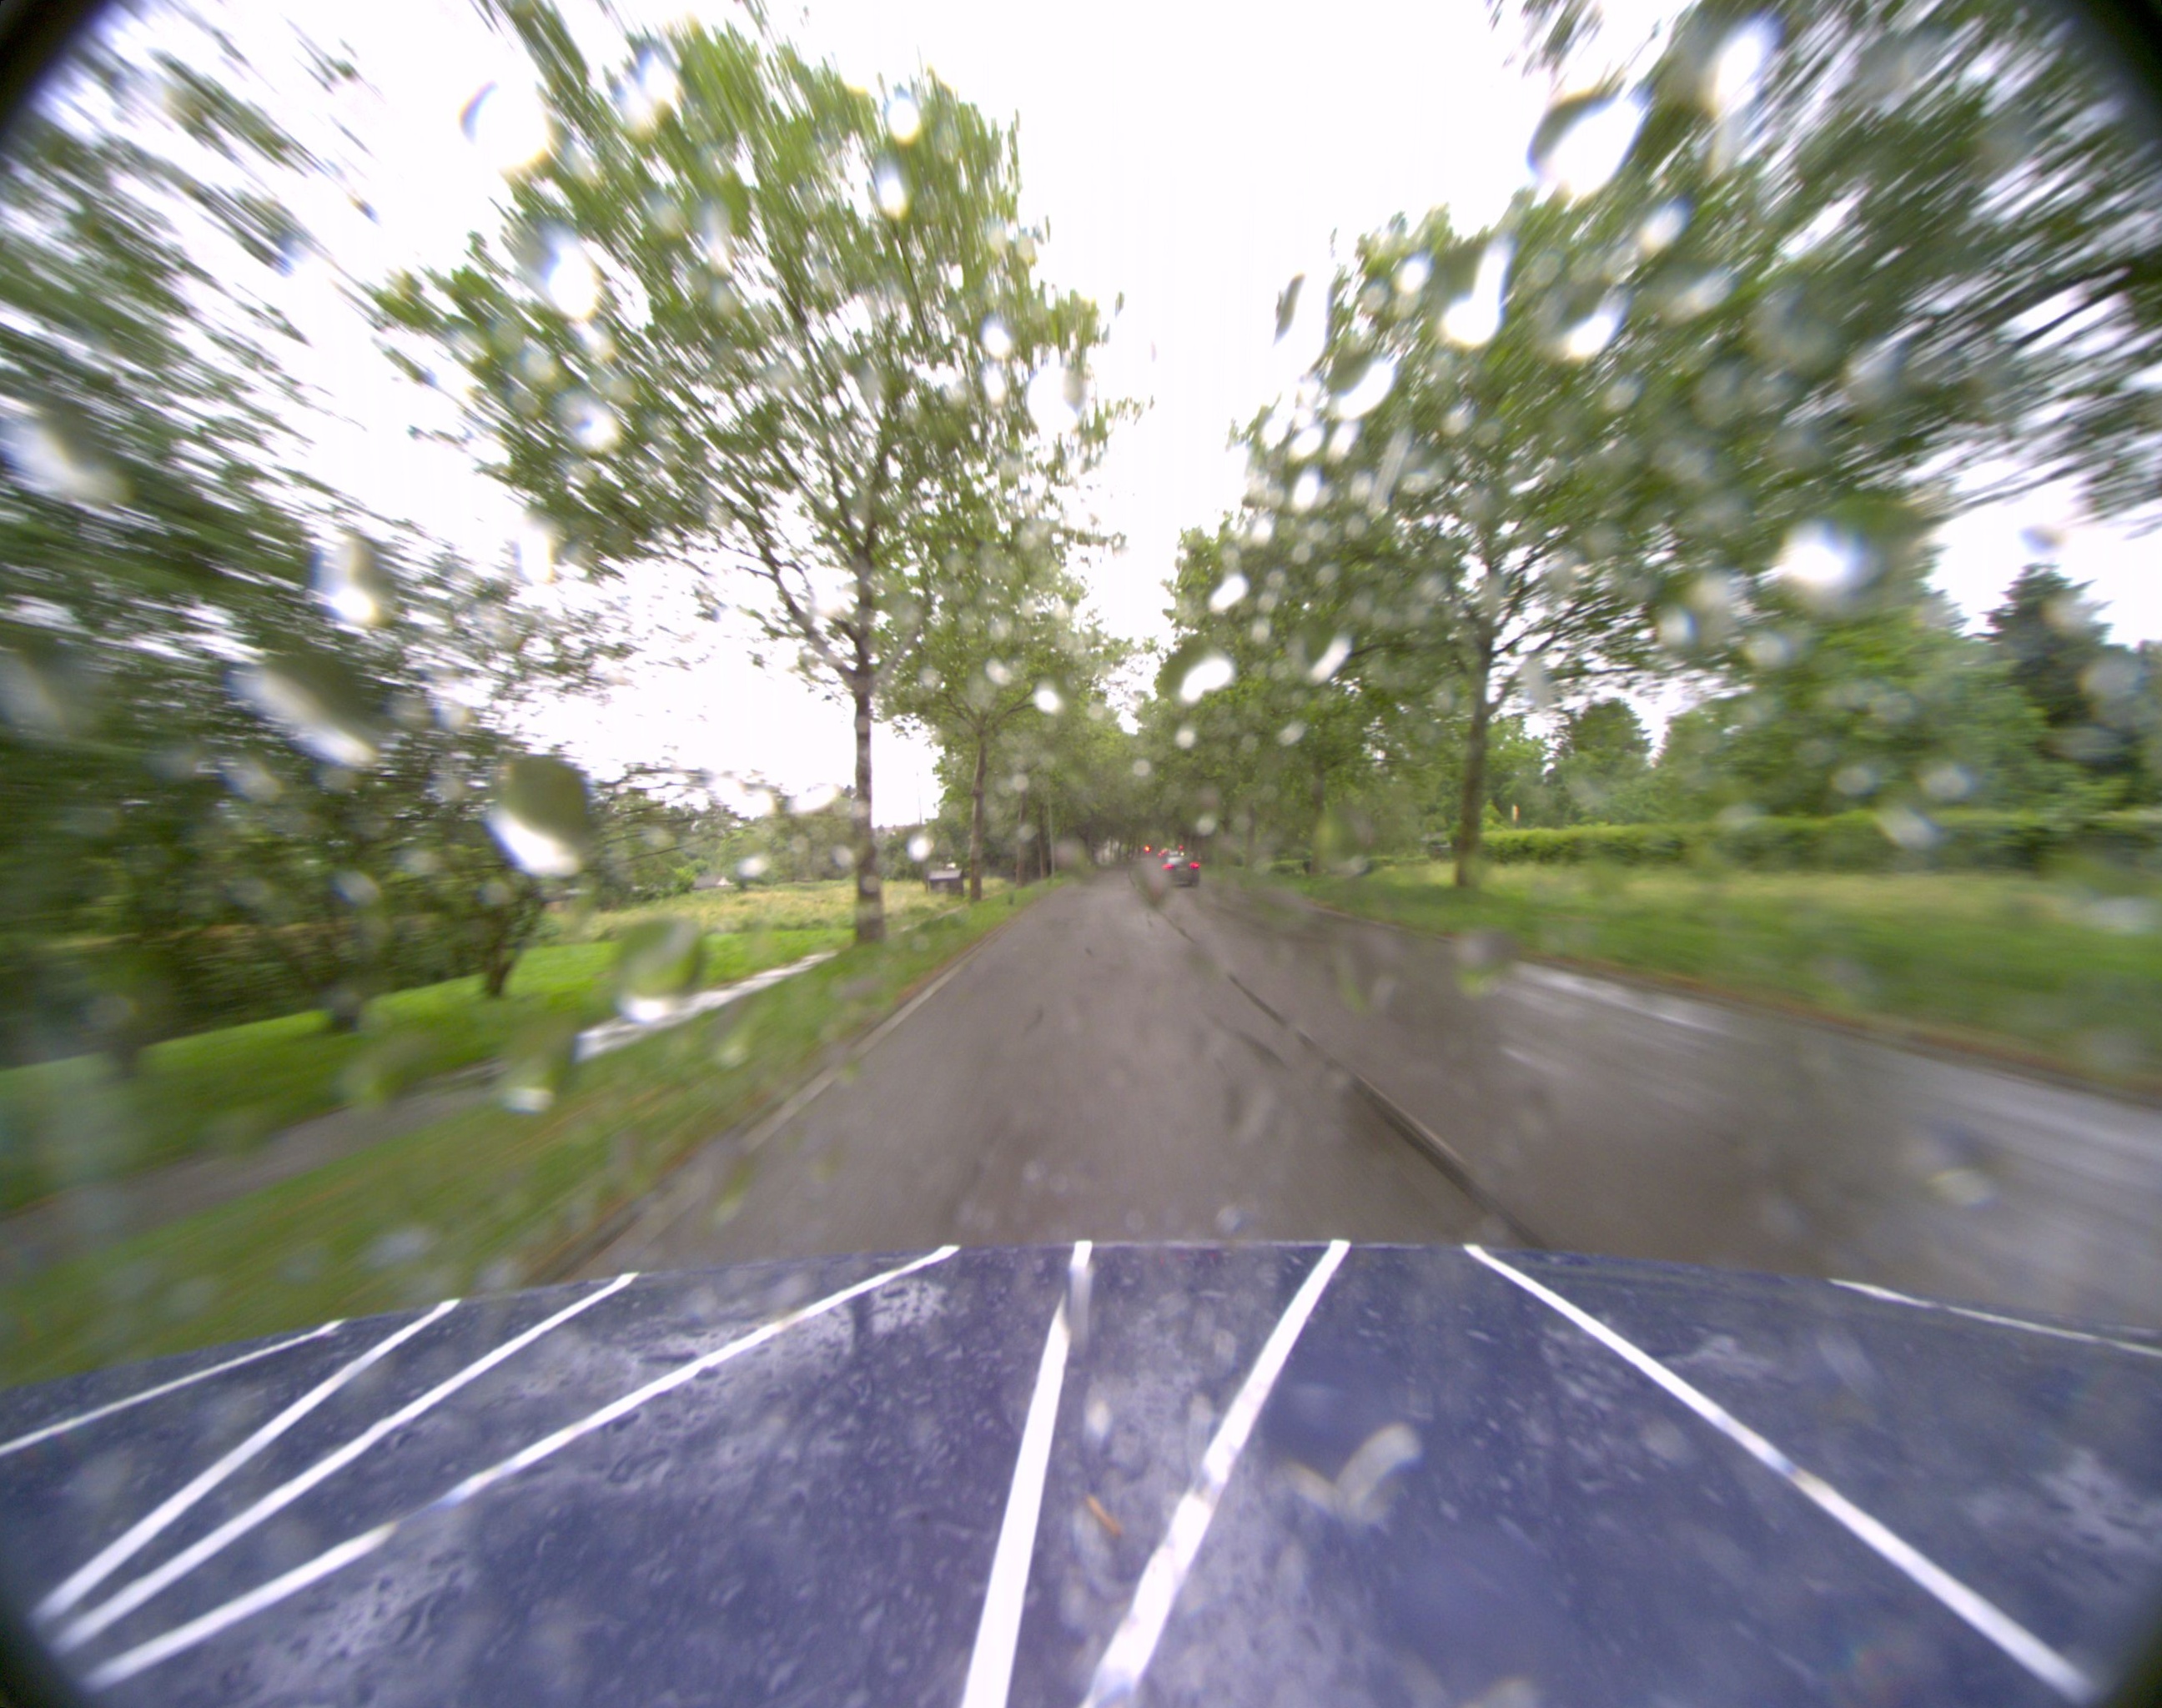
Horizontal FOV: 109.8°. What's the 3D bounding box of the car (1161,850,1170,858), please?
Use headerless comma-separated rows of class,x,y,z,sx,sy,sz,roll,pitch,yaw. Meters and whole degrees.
car,20.921,0.011,188.002,1.867,1.739,5.017,-1,0,4

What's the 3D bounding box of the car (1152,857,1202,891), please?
car,4.404,0.879,35.333,1.736,1.415,4.225,-1,0,0
